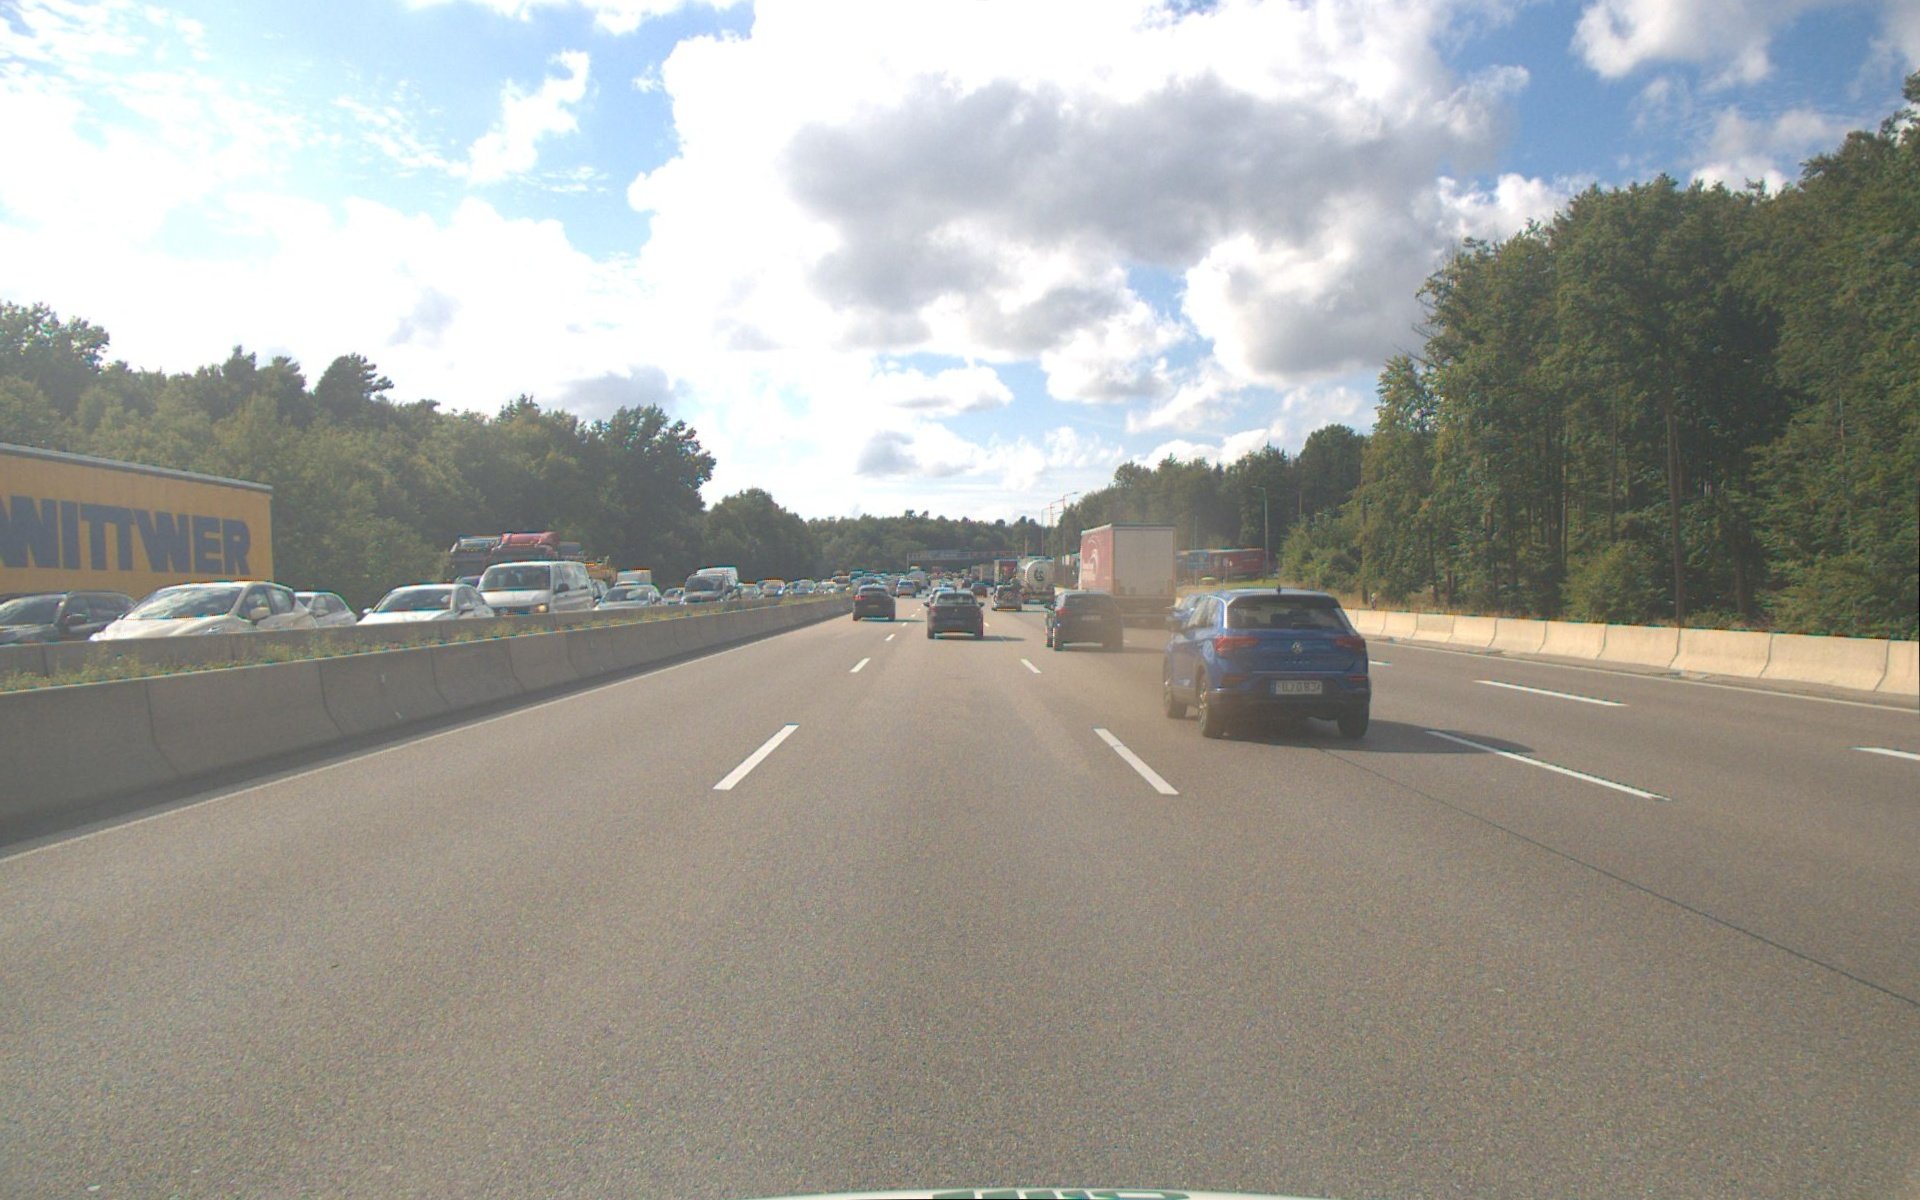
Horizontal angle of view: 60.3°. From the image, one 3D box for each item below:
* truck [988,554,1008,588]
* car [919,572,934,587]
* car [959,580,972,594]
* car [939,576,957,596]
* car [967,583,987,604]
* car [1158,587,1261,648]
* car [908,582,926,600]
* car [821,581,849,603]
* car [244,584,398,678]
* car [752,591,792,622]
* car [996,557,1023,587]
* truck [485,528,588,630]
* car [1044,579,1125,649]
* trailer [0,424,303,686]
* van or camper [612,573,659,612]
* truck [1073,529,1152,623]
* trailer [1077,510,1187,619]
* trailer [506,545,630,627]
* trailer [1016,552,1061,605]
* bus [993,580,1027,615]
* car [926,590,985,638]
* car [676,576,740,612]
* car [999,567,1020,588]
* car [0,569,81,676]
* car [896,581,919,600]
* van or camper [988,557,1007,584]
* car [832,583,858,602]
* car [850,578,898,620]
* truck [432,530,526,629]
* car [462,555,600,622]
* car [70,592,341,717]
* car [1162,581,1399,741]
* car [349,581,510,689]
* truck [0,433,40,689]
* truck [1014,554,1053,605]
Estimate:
[{"bbox_3d":[4.526,-3.411,198.210,2.309,3.635,11.266,1,-1,1],"label":"truck"},{"bbox_3d":[-4.705,-2.913,232.348,1.953,2.049,3.999,1,0,-1],"label":"car"},{"bbox_3d":[0.815,-2.048,254.261,1.953,2.049,3.999,1,0,-1],"label":"car"},{"bbox_3d":[-1.392,-1.580,187.765,1.953,2.049,3.999,-1,-1,-1],"label":"car"},{"bbox_3d":[1.762,-0.646,170.402,1.953,2.049,3.999,1,0,-1],"label":"car"},{"bbox_3d":[6.684,0.460,44.703,1.682,1.537,4.295,-1,0,-7],"label":"car"},{"bbox_3d":[-5.036,-1.074,193.652,1.953,2.049,3.999,1,0,-1],"label":"car"},{"bbox_3d":[-10.325,-0.689,136.728,1.953,1.766,5.090,1,0,-1],"label":"car"},{"bbox_3d":[-13.420,0.654,34.987,1.652,1.848,4.294,1,-1,-1],"label":"car"},{"bbox_3d":[-10.374,0.360,91.617,1.799,1.618,4.288,1,0,-2],"label":"car"},{"bbox_3d":[5.370,-3.057,181.110,2.807,3.044,5.149,1,-1,1],"label":"car"},{"bbox_3d":[-17.637,-0.870,69.301,2.720,4.007,6.851,1,1,-2],"label":"truck"},{"bbox_3d":[3.156,0.348,42.705,1.762,1.673,4.000,1,0,0],"label":"car"},{"bbox_3d":[-17.371,-0.664,33.740,2.715,4.309,13.655,1,-1,-1],"label":"trailer"},{"bbox_3d":[-26.183,-0.611,133.736,2.520,3.131,7.194,0,0,-2],"label":"van or camper"},{"bbox_3d":[6.980,-1.041,76.582,3.017,4.135,6.068,1,-1,-1],"label":"truck"},{"bbox_3d":[7.029,-1.266,69.795,2.976,4.106,13.887,1,-1,-1],"label":"trailer"},{"bbox_3d":[-17.818,-0.677,76.341,2.673,3.393,14.216,1,1,-2],"label":"trailer"},{"bbox_3d":[6.344,-1.675,135.495,2.974,4.086,12.242,0,0,-1],"label":"trailer"},{"bbox_3d":[3.077,-0.144,102.407,1.953,2.049,3.999,1,-1,0],"label":"bus"},{"bbox_3d":[-0.181,0.423,51.354,1.699,1.389,3.998,1,0,-2],"label":"car"},{"bbox_3d":[-10.138,-0.264,67.047,1.778,1.372,6.231,1,0,-2],"label":"car"},{"bbox_3d":[5.118,-2.294,170.844,1.953,2.049,3.999,1,-1,-1],"label":"car"},{"bbox_3d":[-13.659,0.289,22.205,1.698,1.425,3.835,1,-1,-2],"label":"car"},{"bbox_3d":[-5.138,-0.909,163.433,2.110,1.807,4.000,1,0,0],"label":"car"},{"bbox_3d":[4.631,-3.620,204.744,2.303,3.199,5.710,1,-1,1],"label":"van or camper"},{"bbox_3d":[-10.279,-0.686,148.693,1.952,1.600,4.816,0,1,1],"label":"car"},{"bbox_3d":[-3.887,-0.064,75.505,1.953,1.807,4.000,1,0,0],"label":"car"},{"bbox_3d":[-21.972,-0.860,75.819,2.755,4.223,5.450,1,-2,-2],"label":"truck"},{"bbox_3d":[-9.656,-0.205,37.695,1.812,1.378,5.487,1,-1,-1],"label":"car"},{"bbox_3d":[-9.675,0.637,21.572,1.721,1.401,3.999,2,0,-2],"label":"car"},{"bbox_3d":[3.495,0.635,18.893,1.884,1.568,4.646,1,-1,1],"label":"car"},{"bbox_3d":[-9.686,0.631,30.540,1.652,1.848,4.294,1,-1,-1],"label":"car"},{"bbox_3d":[-17.159,-0.683,25.622,2.680,4.221,5.615,1,-1,-2],"label":"truck"},{"bbox_3d":[6.247,-1.696,142.318,2.983,4.233,7.126,0,0,-1],"label":"truck"}]
